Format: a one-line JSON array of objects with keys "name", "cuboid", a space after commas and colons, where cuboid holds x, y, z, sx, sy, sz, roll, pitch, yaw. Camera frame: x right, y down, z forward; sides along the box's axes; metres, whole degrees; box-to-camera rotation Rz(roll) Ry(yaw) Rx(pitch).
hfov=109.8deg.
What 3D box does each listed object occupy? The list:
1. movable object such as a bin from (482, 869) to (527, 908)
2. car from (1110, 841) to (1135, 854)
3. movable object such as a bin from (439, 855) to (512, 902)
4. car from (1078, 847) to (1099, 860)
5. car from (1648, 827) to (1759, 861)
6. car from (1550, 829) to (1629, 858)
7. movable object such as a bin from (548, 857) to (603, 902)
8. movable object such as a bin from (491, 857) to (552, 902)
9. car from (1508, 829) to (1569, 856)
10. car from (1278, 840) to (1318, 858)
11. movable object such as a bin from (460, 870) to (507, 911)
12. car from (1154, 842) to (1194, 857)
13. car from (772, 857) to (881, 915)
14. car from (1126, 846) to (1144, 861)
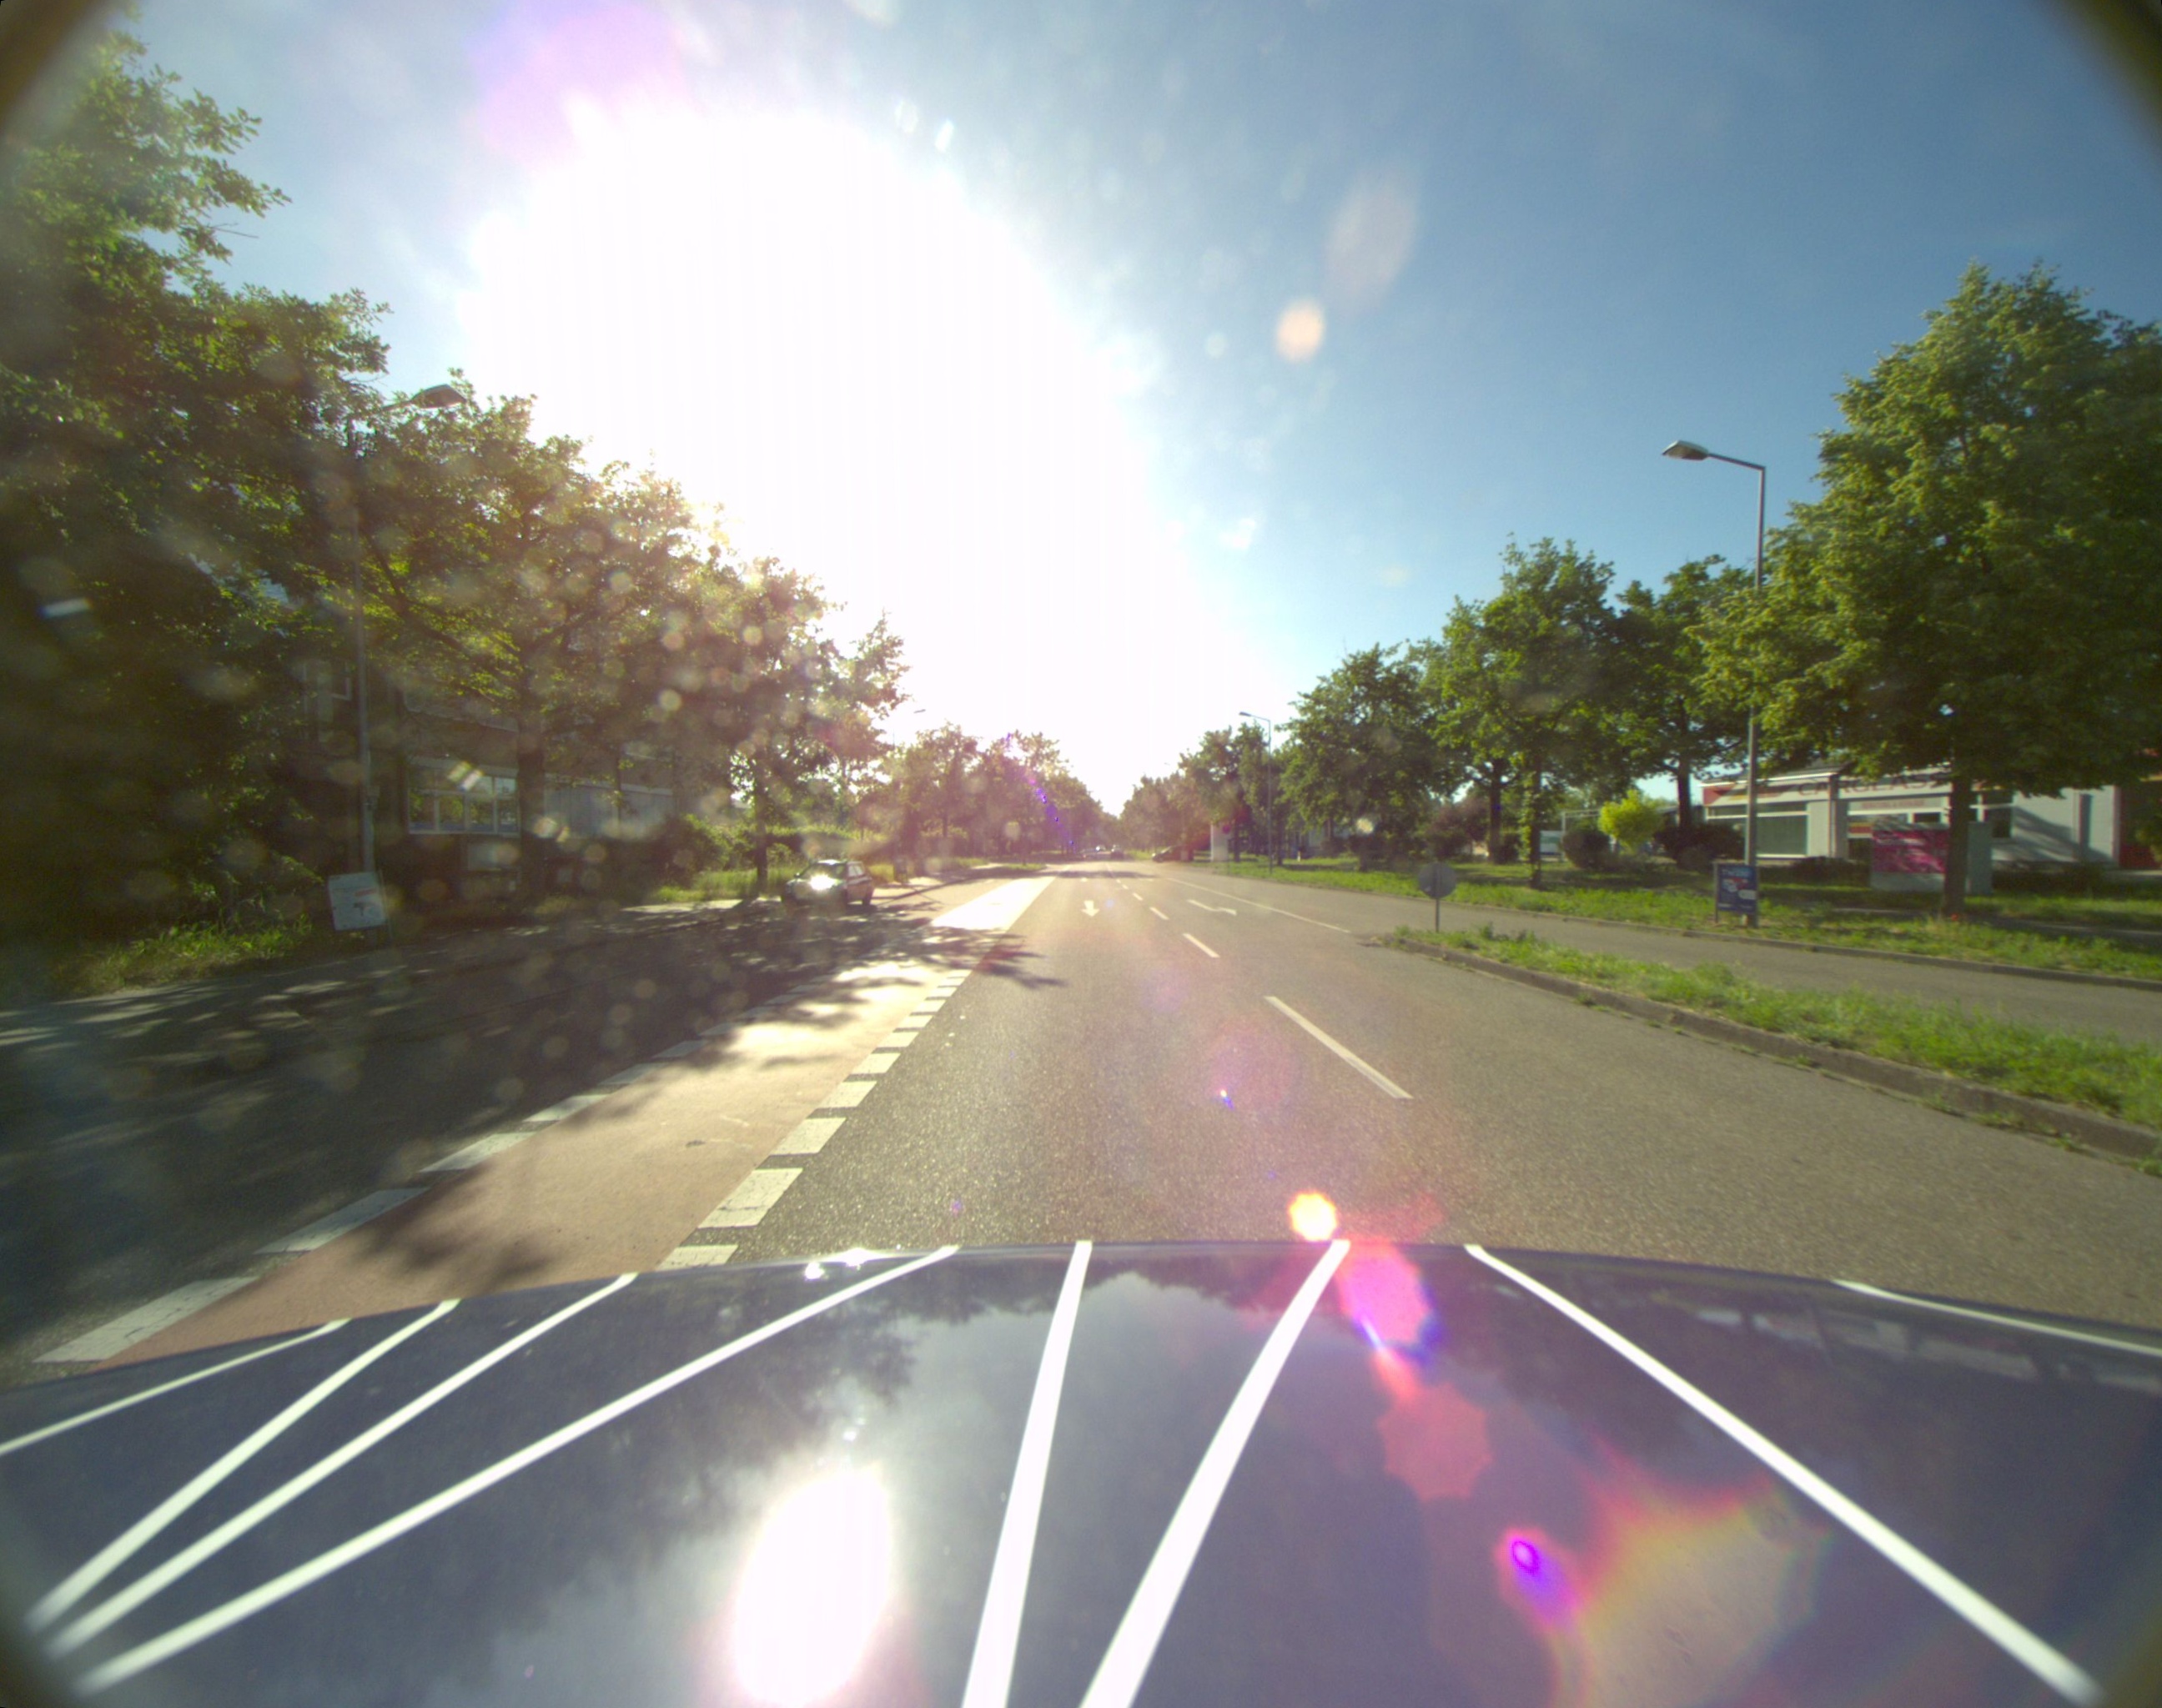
[{"name": "movable object such as a bin", "cuboid": [-16.132, 0.963, 21.266, 0.687, 1.036, 0.695, -1, 1, 0]}, {"name": "car", "cuboid": [5.476, -0.864, 99.852, 1.995, 1.674, 4.006, 0, 1, 23]}, {"name": "movable object such as a bin", "cuboid": [-18.406, 0.733, 23.115, 1.470, 1.371, 0.879, -1, 1, 0]}, {"name": "car", "cuboid": [0.841, -0.074, 87.409, 1.778, 1.477, 3.777, 1, 1, -8]}, {"name": "car", "cuboid": [32.802, -0.540, 40.112, 4.239, 1.578, 1.997, -2, 1, -2]}, {"name": "car", "cuboid": [38.043, -0.782, 56.901, 4.490, 1.934, 1.997, -2, 1, 1]}, {"name": "movable object such as a bin", "cuboid": [-15.439, 0.775, 23.221, 1.089, 1.314, 0.796, -1, 1, 0]}, {"name": "movable object such as a bin", "cuboid": [-17.035, 0.770, 23.146, 1.208, 1.333, 0.796, -1, 1, 0]}, {"name": "car", "cuboid": [38.846, -0.991, 64.580, 4.212, 2.204, 1.777, -1, 1, -2]}, {"name": "car", "cuboid": [23.895, -0.578, 83.750, 3.994, 2.002, 2.001, 0, 1, 8]}, {"name": "movable object such as a bin", "cuboid": [-16.147, 0.986, 20.546, 0.687, 1.036, 0.695, -2, 1, 0]}, {"name": "car", "cuboid": [9.856, -0.464, 80.748, 4.210, 1.477, 1.778, -1, 1, 5]}, {"name": "car", "cuboid": [-7.411, 0.873, 22.566, 1.776, 1.477, 4.214, 1, 1, 1]}, {"name": "car", "cuboid": [5.832, -0.093, 82.489, 1.776, 1.477, 4.215, 1, 1, 3]}]
